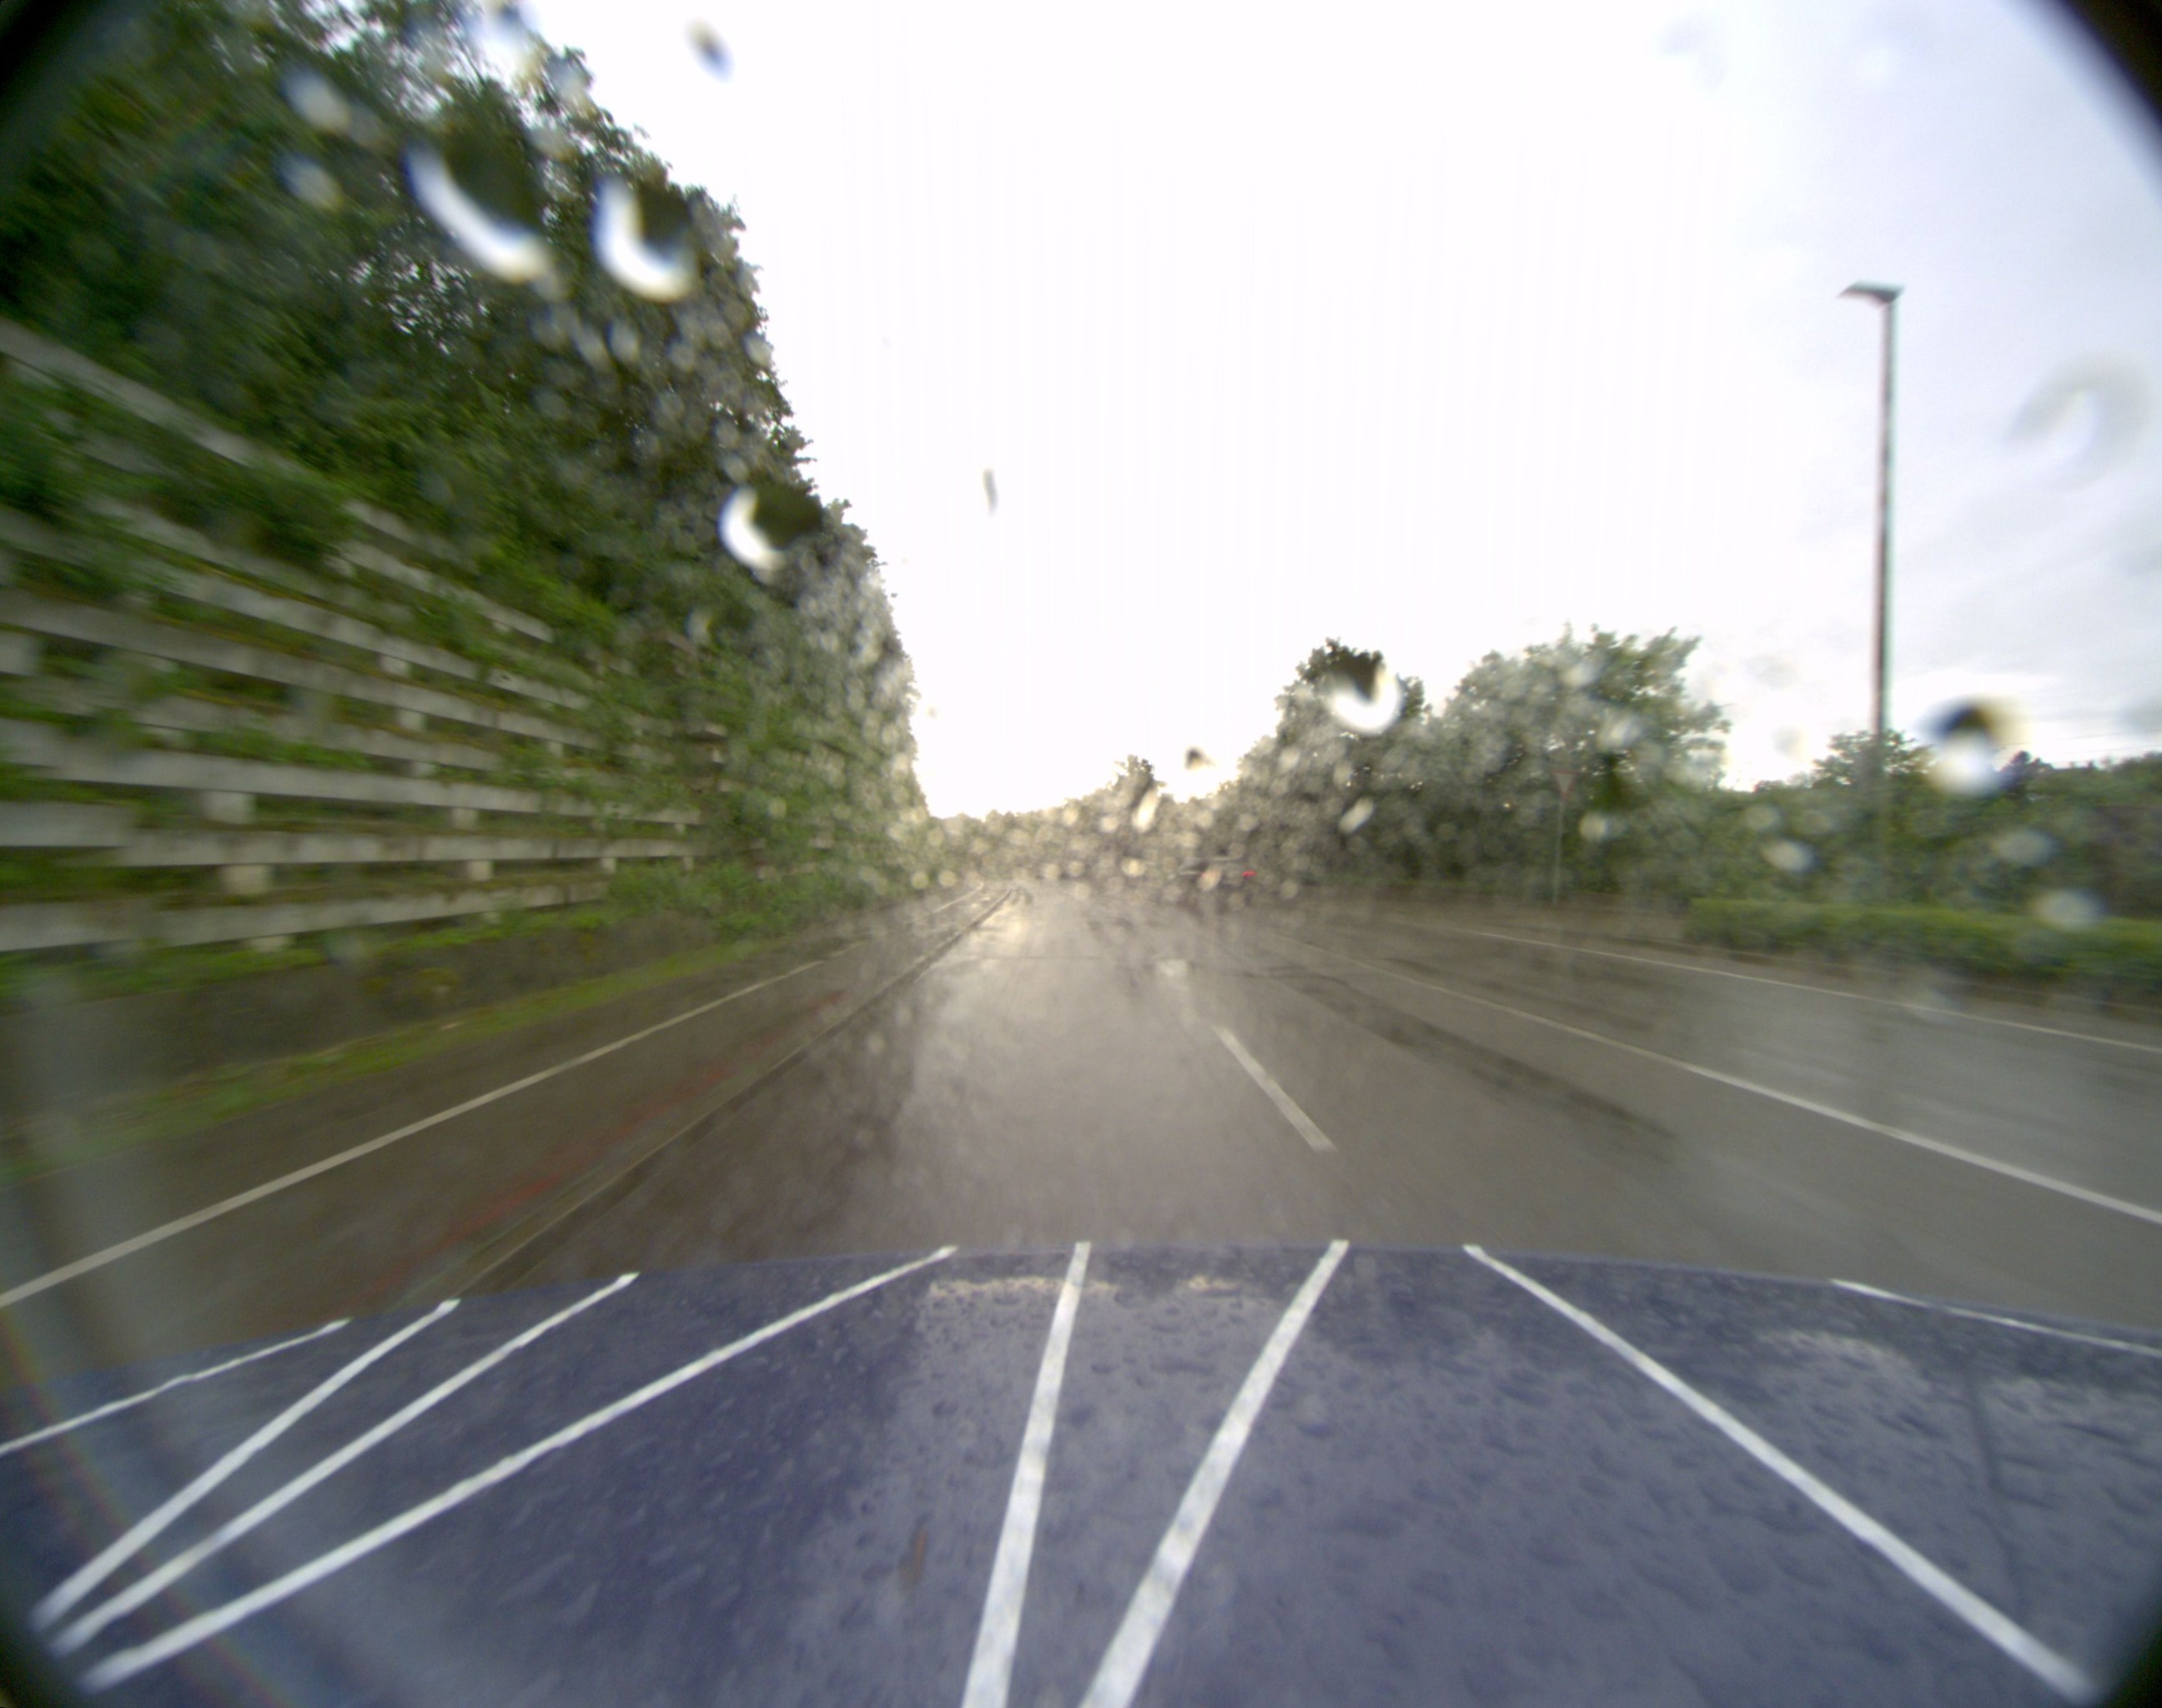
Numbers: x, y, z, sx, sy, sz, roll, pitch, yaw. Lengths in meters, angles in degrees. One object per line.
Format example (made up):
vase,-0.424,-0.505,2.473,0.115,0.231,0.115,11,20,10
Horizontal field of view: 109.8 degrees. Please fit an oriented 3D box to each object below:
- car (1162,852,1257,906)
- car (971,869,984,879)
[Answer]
car,3.866,0.706,23.731,1.728,1.454,4.540,-2,1,-6
car,-17.535,3.344,128.568,1.804,1.626,3.996,1,-1,-11
